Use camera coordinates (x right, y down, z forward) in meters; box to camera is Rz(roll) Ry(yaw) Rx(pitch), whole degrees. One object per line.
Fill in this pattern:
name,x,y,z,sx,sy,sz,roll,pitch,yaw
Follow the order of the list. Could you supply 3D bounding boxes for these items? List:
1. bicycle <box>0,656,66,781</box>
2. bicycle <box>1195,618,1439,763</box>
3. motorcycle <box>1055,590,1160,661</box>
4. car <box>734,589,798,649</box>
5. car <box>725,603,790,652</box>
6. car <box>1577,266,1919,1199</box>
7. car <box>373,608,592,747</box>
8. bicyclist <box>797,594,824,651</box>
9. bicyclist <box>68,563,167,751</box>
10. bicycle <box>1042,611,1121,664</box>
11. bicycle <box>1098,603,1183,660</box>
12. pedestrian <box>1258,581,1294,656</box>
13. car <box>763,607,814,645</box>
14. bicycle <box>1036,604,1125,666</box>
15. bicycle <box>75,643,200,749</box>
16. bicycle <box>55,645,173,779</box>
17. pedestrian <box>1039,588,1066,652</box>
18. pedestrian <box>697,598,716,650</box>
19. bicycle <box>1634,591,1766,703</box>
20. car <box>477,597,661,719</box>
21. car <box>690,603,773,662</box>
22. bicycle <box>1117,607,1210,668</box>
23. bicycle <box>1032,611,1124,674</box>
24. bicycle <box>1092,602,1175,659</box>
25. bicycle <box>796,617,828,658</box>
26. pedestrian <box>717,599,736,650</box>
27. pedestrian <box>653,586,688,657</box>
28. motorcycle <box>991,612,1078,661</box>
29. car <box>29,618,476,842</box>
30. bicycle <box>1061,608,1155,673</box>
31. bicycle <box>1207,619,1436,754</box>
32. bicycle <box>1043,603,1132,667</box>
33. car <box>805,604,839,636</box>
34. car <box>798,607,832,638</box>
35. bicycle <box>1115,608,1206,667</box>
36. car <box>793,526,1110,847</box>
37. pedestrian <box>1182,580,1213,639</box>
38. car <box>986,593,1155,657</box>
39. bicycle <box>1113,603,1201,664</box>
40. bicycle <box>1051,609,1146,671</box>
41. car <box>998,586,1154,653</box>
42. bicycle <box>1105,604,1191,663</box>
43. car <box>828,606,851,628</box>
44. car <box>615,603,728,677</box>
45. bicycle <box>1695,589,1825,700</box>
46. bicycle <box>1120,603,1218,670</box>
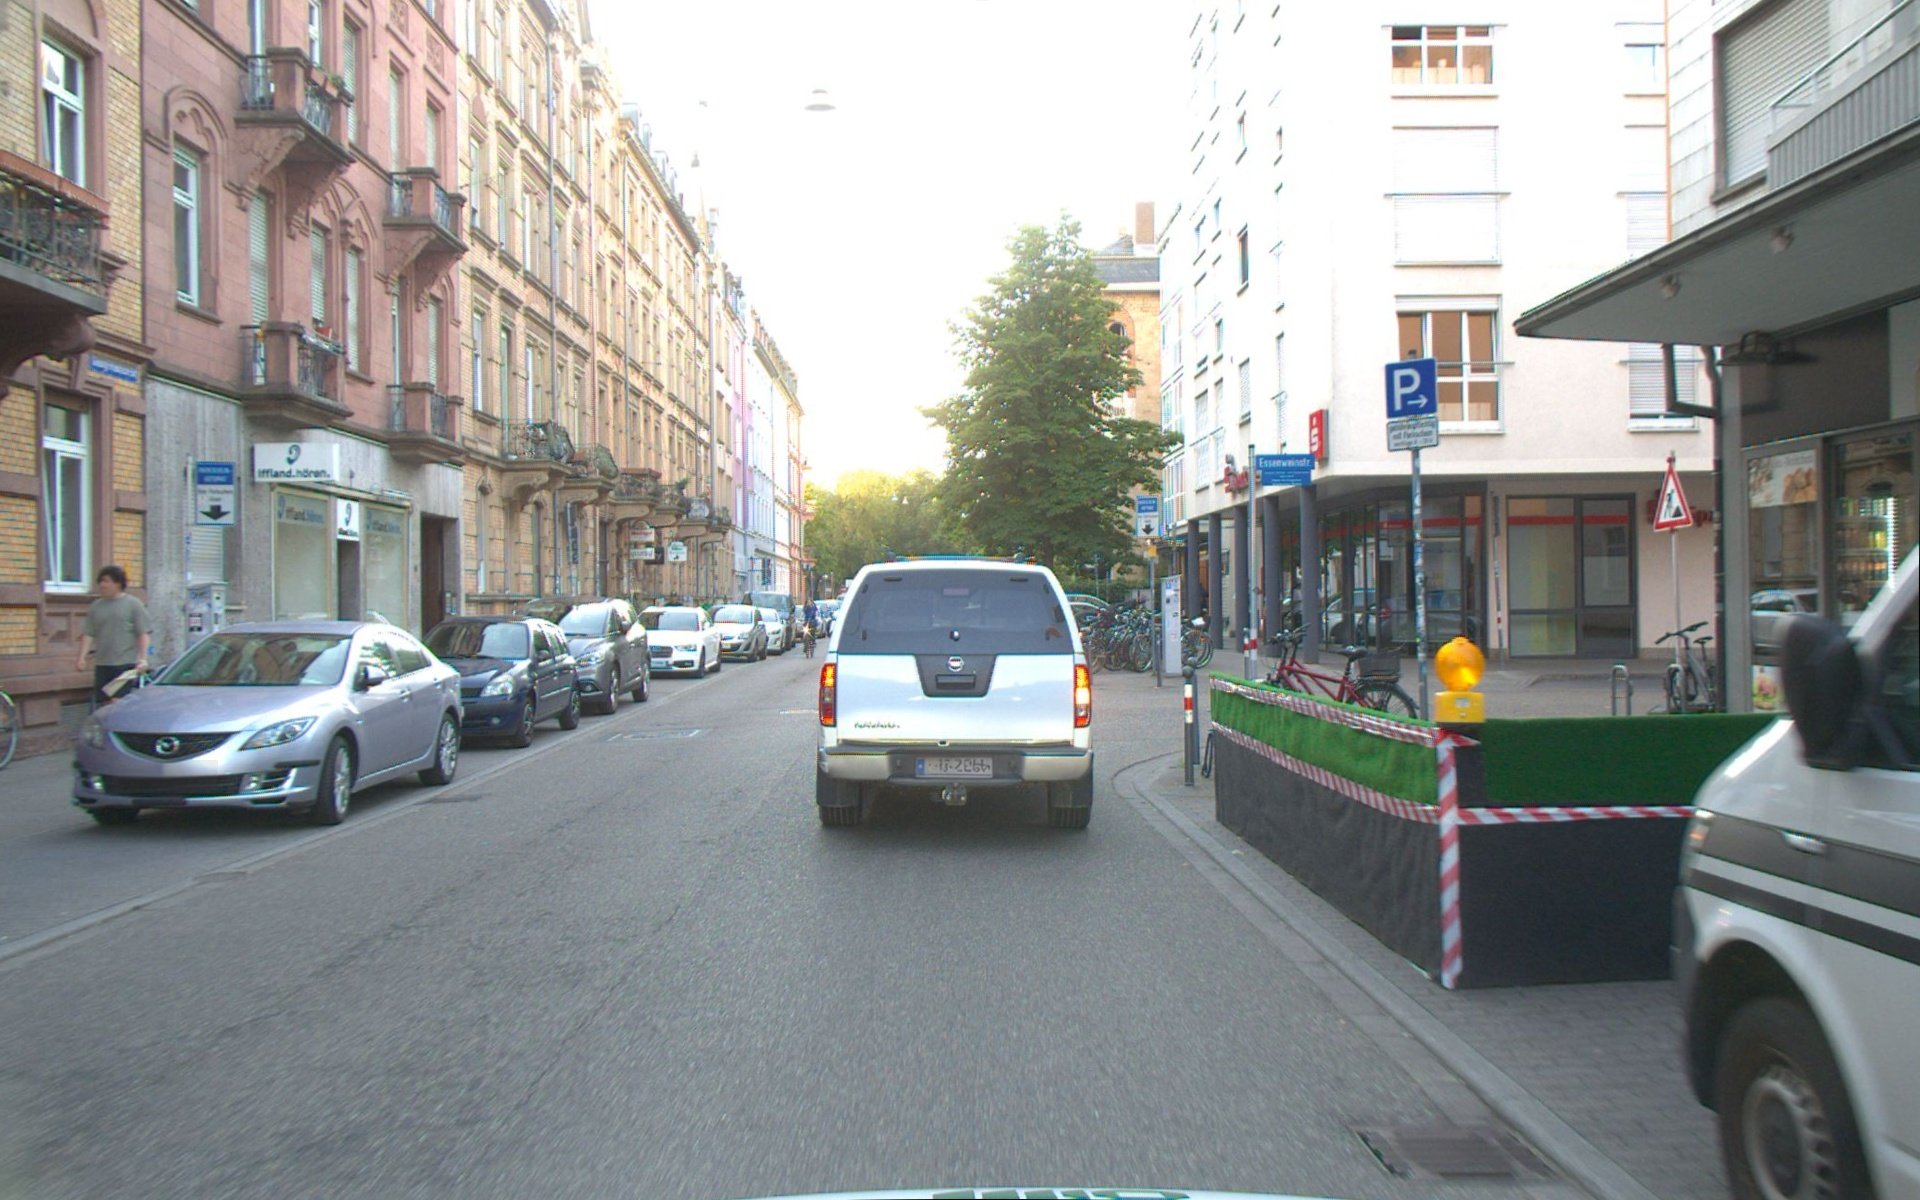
bicycle,-8.795,1.075,14.883,0.538,1.055,1.759,2,0,-1
bicycle,3.056,0.784,14.258,1.906,1.154,0.655,-4,-1,36
motorcycle,3.589,0.616,40.392,2.440,1.576,0.824,-3,-1,1
car,-6.731,0.652,57.732,1.954,1.957,4.947,1,0,-4
car,-6.387,0.855,52.506,1.748,1.447,4.482,1,0,-3
car,2.758,0.354,2.106,1.919,2.008,5.001,-3,0,-1
car,-5.509,0.836,19.508,1.553,1.445,3.696,0,0,-1
bicyclist,-4.368,0.651,48.369,0.631,1.649,0.918,-2,0,2
bicyclist,-8.172,0.545,16.074,0.696,1.760,0.839,0,-2,-17
bicycle,2.752,0.842,37.585,1.684,1.049,0.667,-5,-1,1
bicycle,3.883,0.676,35.678,1.689,1.137,0.653,-3,-1,-5
pedestrian,7.489,0.440,39.226,0.649,1.753,0.662,-1,1,25
car,-6.930,1.046,67.098,1.702,1.443,4.776,1,-1,-2
bicycle,2.638,0.764,36.212,1.830,1.202,0.743,-5,-1,3
bicycle,-9.023,1.027,18.220,0.440,1.040,1.847,3,0,-1
bicycle,-8.164,1.047,16.033,0.696,1.217,1.733,0,-1,-17
pedestrian,2.613,0.561,46.575,0.615,1.784,0.586,0,-2,-13
pedestrian,-9.098,0.854,59.314,0.568,1.802,0.996,2,0,-5
bicycle,7.656,0.487,17.198,0.551,1.086,1.964,-2,-2,3
car,-5.756,0.791,24.882,1.815,1.662,4.444,0,0,-2
car,-6.133,0.854,44.706,1.682,1.483,4.000,1,0,0
bicycle,3.951,0.725,32.197,1.687,1.072,0.654,-3,-1,1
bicycle,2.305,0.827,32.406,1.688,1.137,0.706,-3,-1,-4
bicycle,3.812,0.672,36.397,1.689,1.137,0.653,-3,-1,-5
bicycle,-4.340,1.085,48.580,0.631,1.100,2.169,-2,0,2
pedestrian,-8.419,0.881,59.576,0.593,1.803,0.776,2,0,-6
pedestrian,-7.400,0.563,42.320,0.542,1.786,1.023,-1,-2,12
motorcycle,1.861,0.915,41.240,2.025,1.097,0.660,-3,-1,-17
car,-5.325,0.884,13.181,1.688,1.445,4.580,0,0,-2
bicycle,2.818,0.762,31.561,1.687,1.137,0.707,-3,-1,1
bicycle,3.306,0.804,15.208,1.906,1.154,0.655,-4,-1,36
bicycle,2.726,0.746,35.372,1.751,1.202,0.734,-5,-1,9
car,-7.620,1.117,91.856,1.808,1.688,4.248,-1,0,-4
car,-7.459,1.135,85.369,1.603,1.593,3.779,0,0,-2
bicycle,3.970,0.732,32.869,1.687,1.072,0.654,-3,-1,1
car,0.110,0.533,12.483,1.871,1.885,5.272,1,0,3
pedestrian,7.184,0.295,50.069,0.712,1.746,0.963,-3,-1,-1
car,3.003,0.678,45.382,4.340,1.480,1.776,-3,0,-8
bicycle,4.040,0.687,34.030,1.687,1.137,0.654,-3,-1,1
bicycle,2.769,0.791,33.210,1.773,1.137,0.706,-3,-1,-4
car,3.341,0.559,48.158,4.311,1.676,1.745,-3,0,-2
bicycle,3.921,0.693,34.596,1.687,1.137,0.654,-3,-1,1
car,-8.727,1.222,119.823,1.665,1.579,4.018,1,0,-4
car,-6.080,0.807,35.269,1.722,1.436,4.507,0,0,-2
bicycle,8.304,0.459,17.248,0.551,1.086,1.757,-2,-2,3
bicycle,3.941,0.682,31.171,1.693,1.151,0.577,-3,-1,-14
